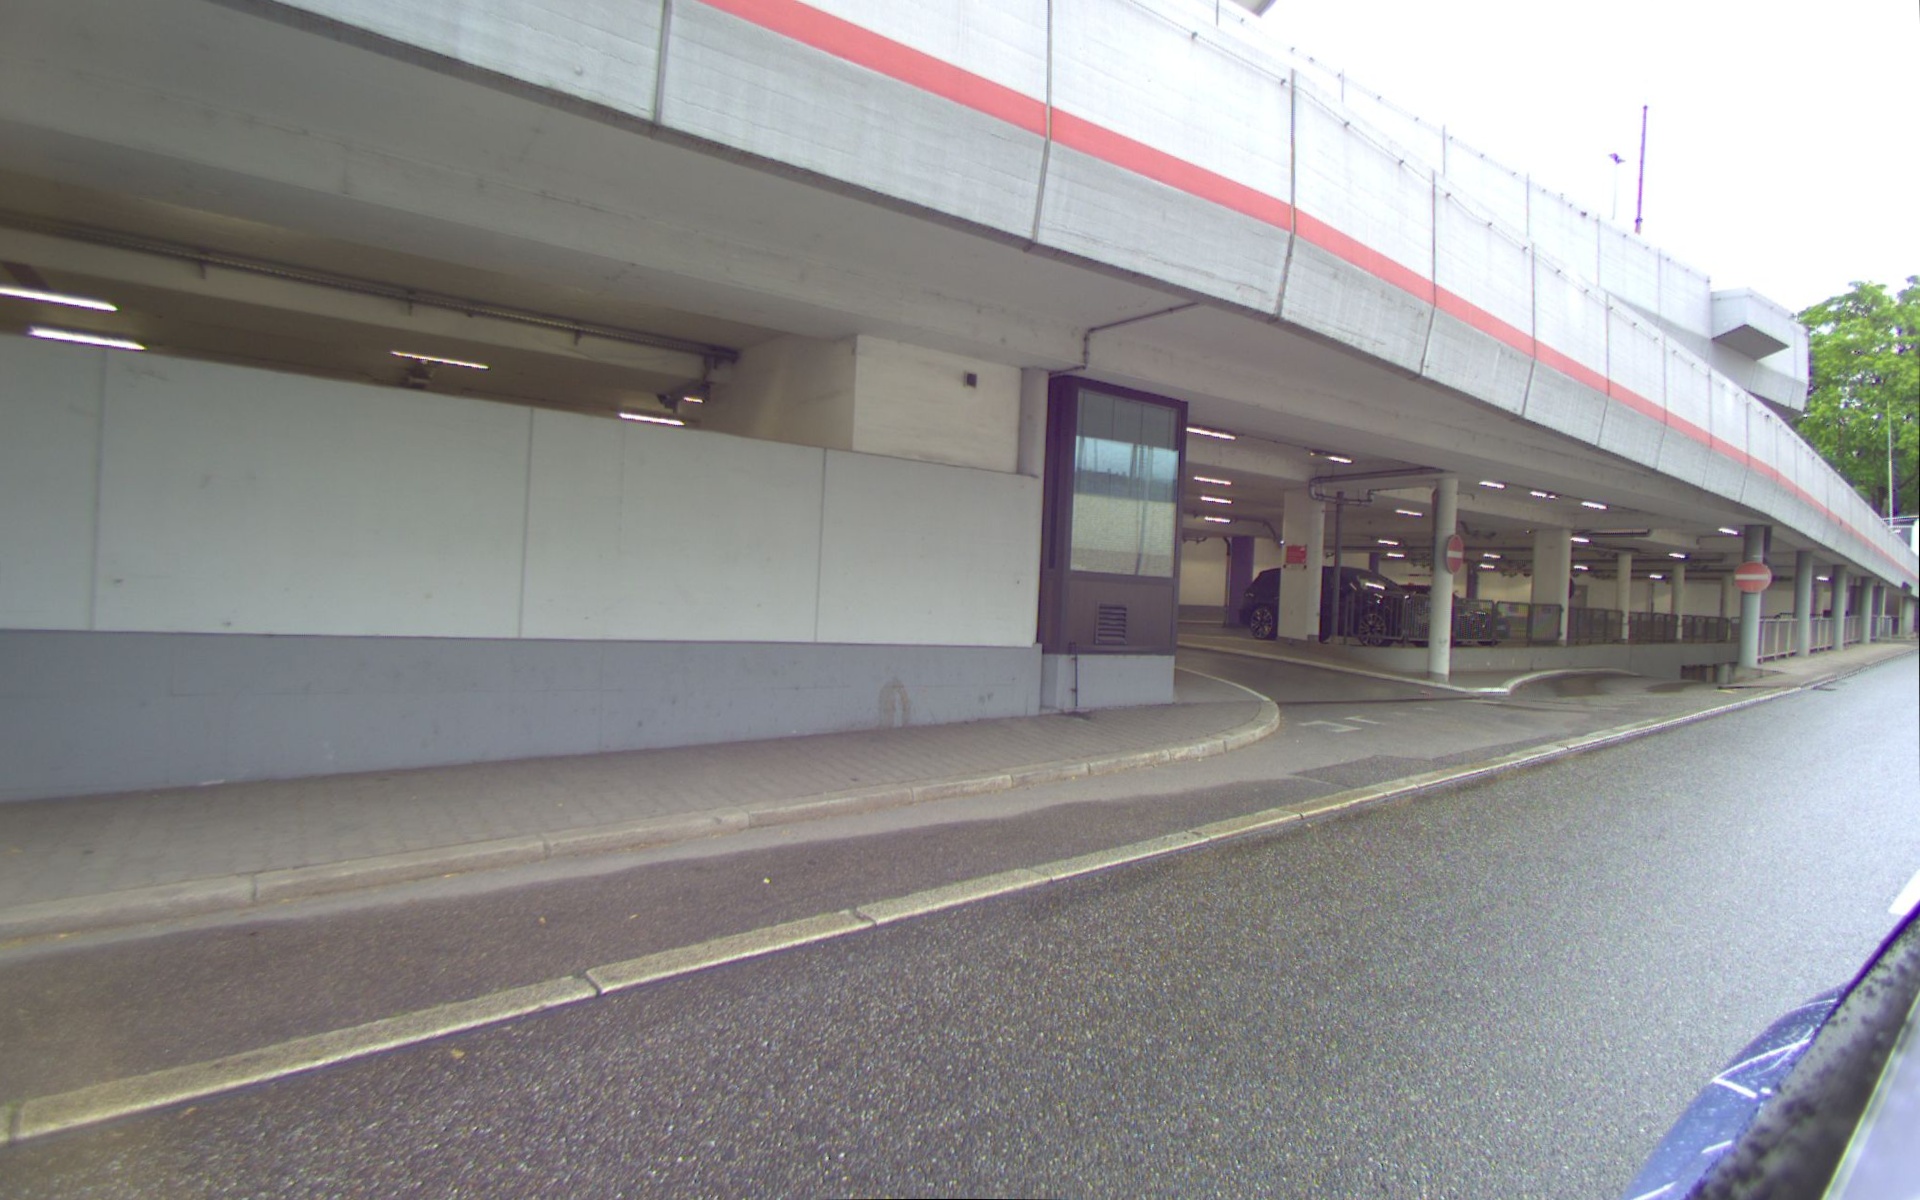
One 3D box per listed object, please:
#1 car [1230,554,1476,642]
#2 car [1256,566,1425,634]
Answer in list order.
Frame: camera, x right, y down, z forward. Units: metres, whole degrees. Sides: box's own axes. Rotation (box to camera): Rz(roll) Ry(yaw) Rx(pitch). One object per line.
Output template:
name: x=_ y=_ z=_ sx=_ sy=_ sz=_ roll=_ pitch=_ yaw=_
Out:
car: x=8.146 y=-0.025 z=21.387 sx=1.788 sy=1.661 sz=4.588 roll=-1 pitch=0 yaw=-36
car: x=9.811 y=-0.034 z=26.349 sx=1.772 sy=1.524 sz=3.738 roll=2 pitch=1 yaw=-33
